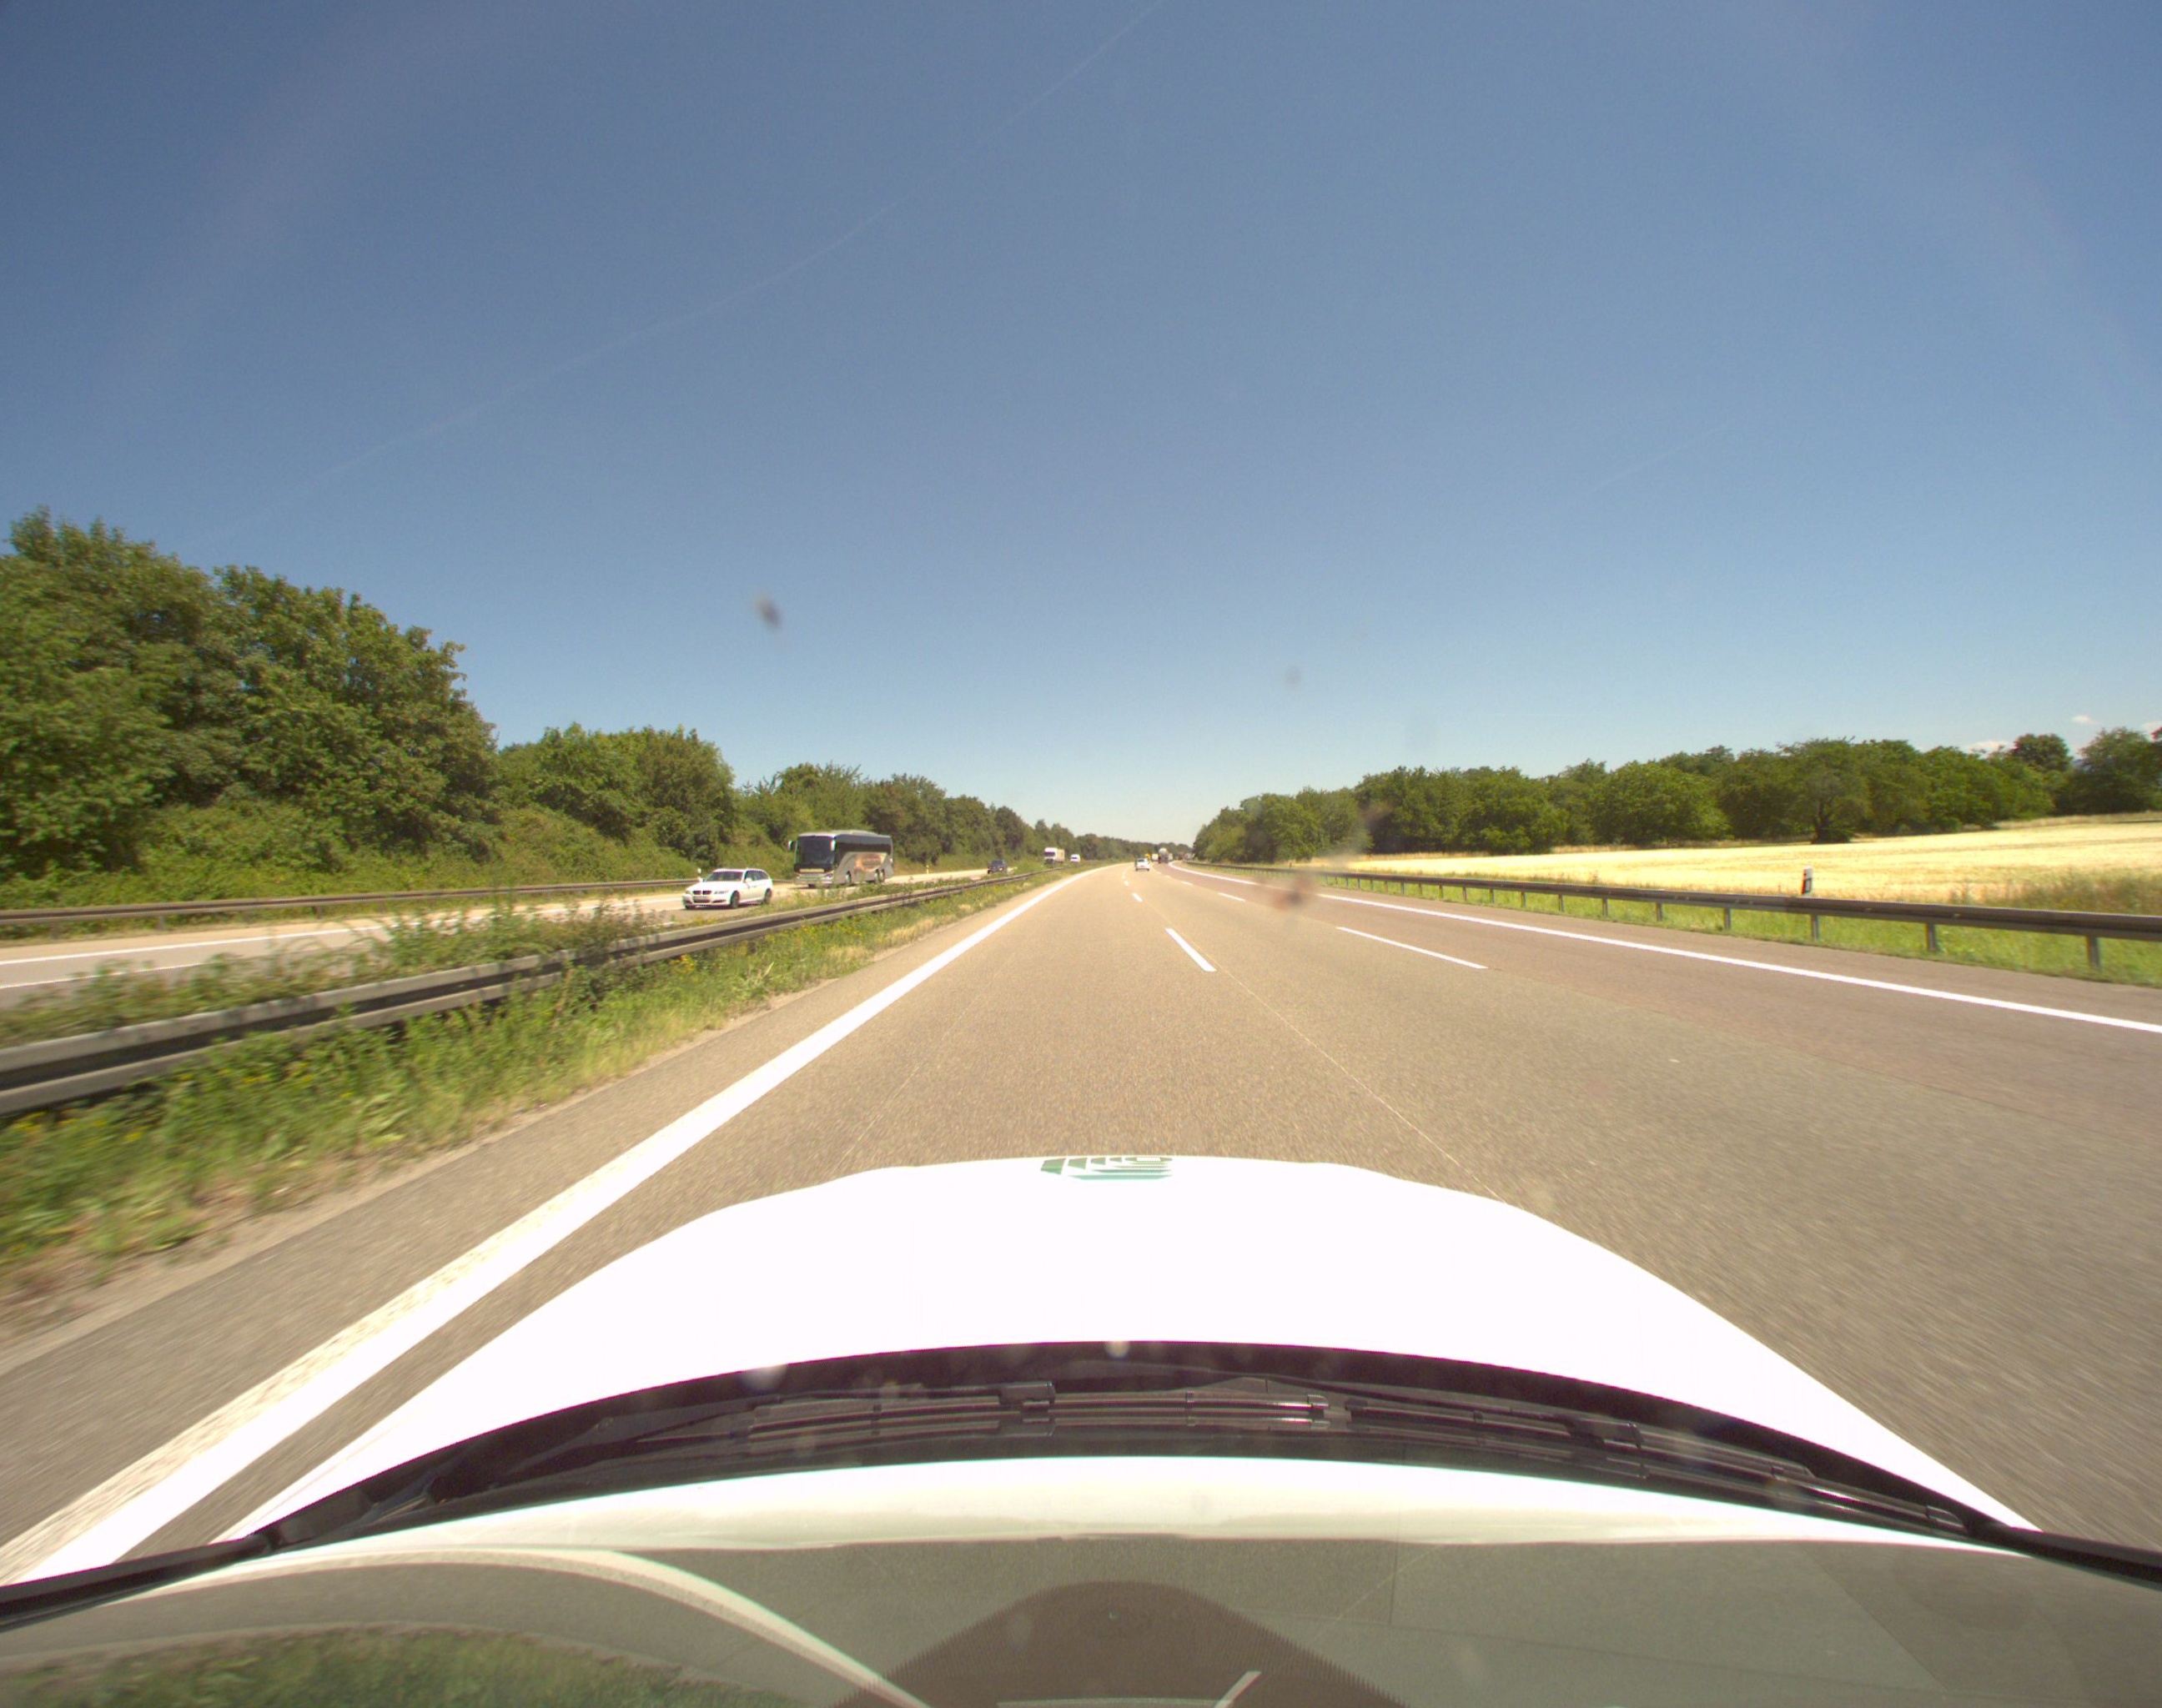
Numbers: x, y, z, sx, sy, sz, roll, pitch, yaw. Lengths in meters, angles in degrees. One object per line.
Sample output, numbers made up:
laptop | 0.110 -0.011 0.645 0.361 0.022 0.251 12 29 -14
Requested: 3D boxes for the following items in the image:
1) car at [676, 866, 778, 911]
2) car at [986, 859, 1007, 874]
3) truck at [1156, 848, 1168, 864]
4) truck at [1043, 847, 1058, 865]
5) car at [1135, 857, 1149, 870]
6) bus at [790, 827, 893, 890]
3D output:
car | -12.954 1.213 30.120 1.761 1.514 4.333 0 0 2
car | -9.908 1.450 95.833 1.818 1.632 4.561 -1 0 2
truck | 21.288 0.575 214.265 2.727 4.052 10.466 -1 -1 4
truck | -6.823 0.510 182.809 2.691 3.965 4.447 -2 -1 3
car | 7.609 1.177 101.819 1.620 1.479 4.004 -1 -1 4
bus | -15.636 0.293 54.595 2.731 3.708 13.003 0 0 2
